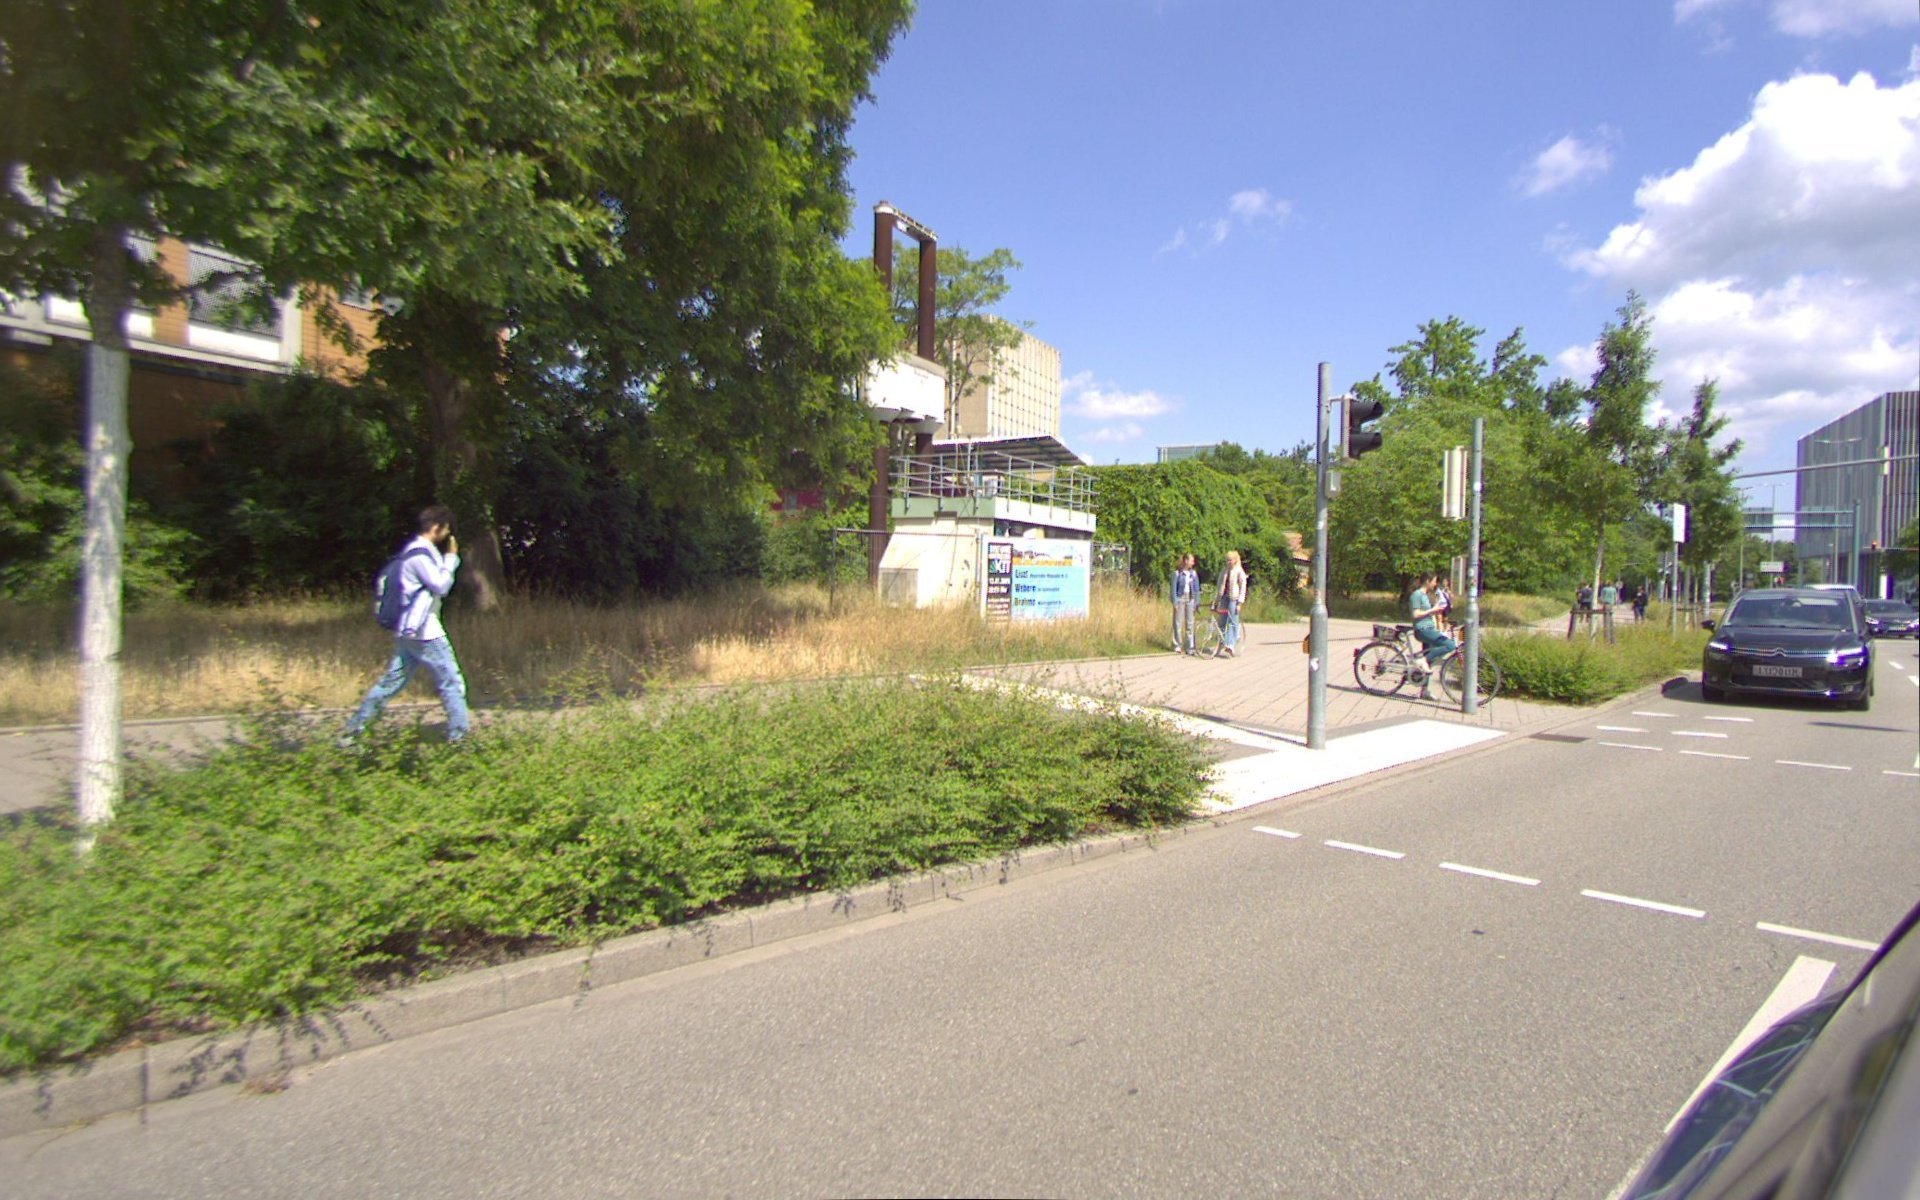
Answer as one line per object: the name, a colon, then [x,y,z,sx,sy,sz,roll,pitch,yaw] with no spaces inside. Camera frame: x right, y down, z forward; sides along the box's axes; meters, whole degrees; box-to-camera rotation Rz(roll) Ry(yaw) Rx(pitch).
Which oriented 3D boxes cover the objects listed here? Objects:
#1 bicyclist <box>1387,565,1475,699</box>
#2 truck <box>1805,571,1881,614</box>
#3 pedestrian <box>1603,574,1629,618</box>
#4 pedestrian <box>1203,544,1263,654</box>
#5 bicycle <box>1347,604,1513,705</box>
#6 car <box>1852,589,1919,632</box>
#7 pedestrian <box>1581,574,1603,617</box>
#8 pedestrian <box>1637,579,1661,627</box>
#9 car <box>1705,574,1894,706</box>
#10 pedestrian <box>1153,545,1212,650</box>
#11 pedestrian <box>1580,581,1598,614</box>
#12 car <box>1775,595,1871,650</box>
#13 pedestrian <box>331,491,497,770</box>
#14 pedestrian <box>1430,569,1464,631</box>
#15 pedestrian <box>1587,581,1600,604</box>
bicyclist: [6.052,0.381,13.020,0.827,1.620,0.571,5,4,40]
truck: [50.114,-0.421,57.595,2.446,2.330,5.746,-1,0,33]
pedestrian: [27.558,-0.174,42.546,0.745,1.799,0.873,3,2,27]
pedestrian: [4.705,-0.026,17.461,0.749,1.824,0.601,3,2,40]
bicycle: [6.024,0.664,13.052,1.808,1.062,0.583,5,5,40]
car: [35.123,0.362,38.053,1.740,1.523,4.466,-1,0,33]
pedestrian: [26.715,-0.200,42.776,0.662,1.768,0.604,3,2,27]
pedestrian: [26.387,0.098,38.774,0.664,1.771,0.838,3,2,33]
car: [12.392,0.484,14.831,1.857,1.643,4.450,-1,0,43]
pedestrian: [3.880,-0.049,17.673,0.749,1.774,0.601,3,2,40]
pedestrian: [33.939,-0.141,54.640,0.746,1.771,0.659,3,2,33]
car: [24.448,0.582,28.798,1.756,1.435,4.306,-1,0,37]
pedestrian: [-3.912,0.175,7.260,0.754,1.842,0.770,5,4,35]
pedestrian: [13.108,-0.005,27.236,0.744,1.616,0.874,3,2,25]
pedestrian: [48.829,-0.592,78.065,0.839,1.787,0.832,0,1,33]
